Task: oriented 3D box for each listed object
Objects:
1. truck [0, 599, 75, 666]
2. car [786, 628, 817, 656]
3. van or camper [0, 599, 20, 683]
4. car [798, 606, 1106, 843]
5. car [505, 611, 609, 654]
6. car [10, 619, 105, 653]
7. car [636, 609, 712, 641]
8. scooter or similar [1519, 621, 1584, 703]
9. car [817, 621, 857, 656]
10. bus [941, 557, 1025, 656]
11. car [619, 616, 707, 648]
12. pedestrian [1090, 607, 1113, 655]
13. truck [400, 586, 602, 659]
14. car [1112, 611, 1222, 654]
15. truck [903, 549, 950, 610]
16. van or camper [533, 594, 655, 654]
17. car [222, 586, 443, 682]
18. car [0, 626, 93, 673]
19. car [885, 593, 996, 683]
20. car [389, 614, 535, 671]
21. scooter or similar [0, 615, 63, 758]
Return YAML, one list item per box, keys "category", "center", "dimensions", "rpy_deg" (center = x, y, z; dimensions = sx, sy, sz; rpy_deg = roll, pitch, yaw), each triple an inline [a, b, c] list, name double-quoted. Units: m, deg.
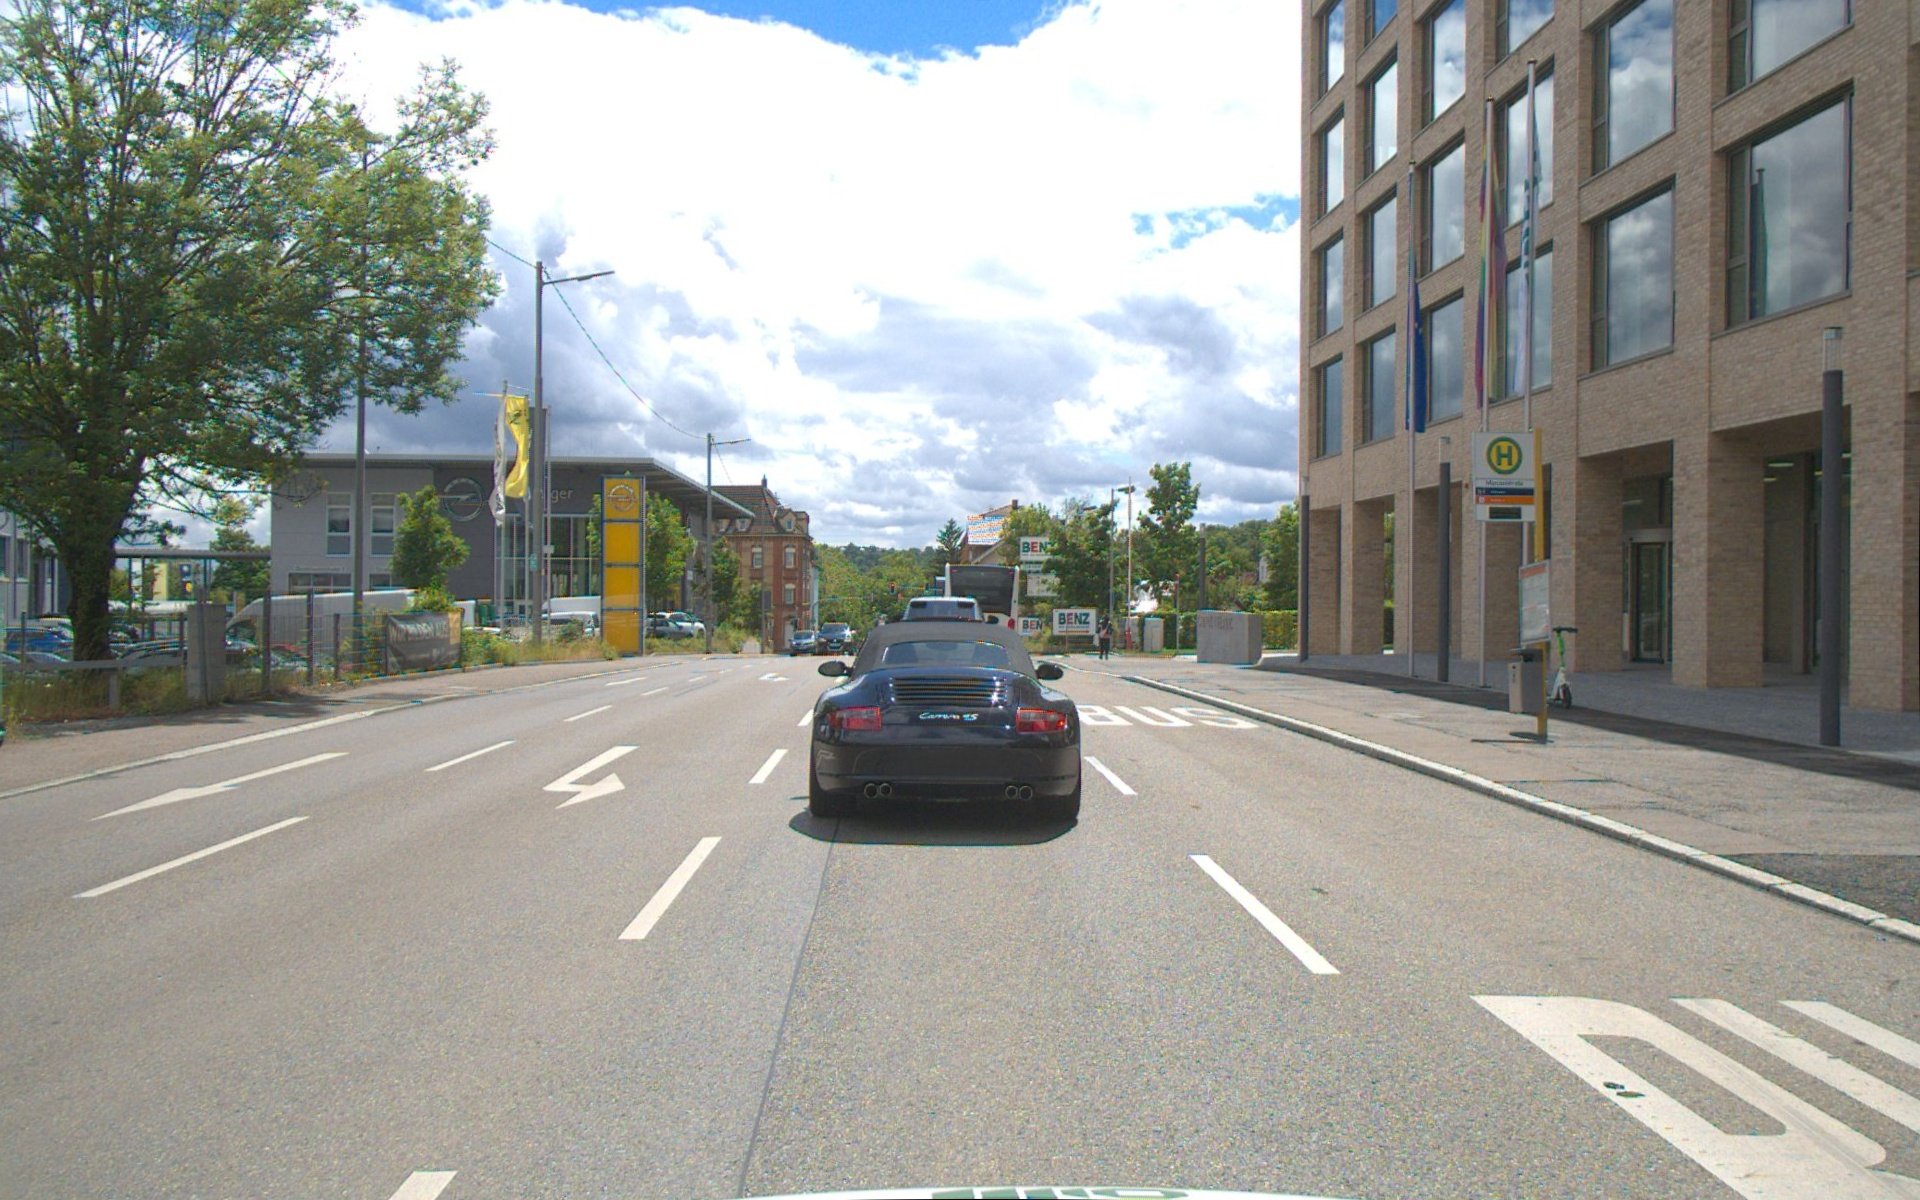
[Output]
- category: "truck"
  center: [-33.986, 1.146, 56.611]
  dimensions: [6.207, 2.268, 2.683]
  rpy_deg: [0, -2, -23]
- category: "car"
  center: [-9.930, 2.634, 103.687]
  dimensions: [1.709, 1.623, 4.039]
  rpy_deg: [-2, -1, -3]
- category: "van or camper"
  center: [-30.265, 1.167, 47.005]
  dimensions: [5.797, 2.396, 2.488]
  rpy_deg: [0, 0, -21]
- category: "car"
  center: [-0.077, 0.775, 12.281]
  dimensions: [1.891, 1.401, 4.207]
  rpy_deg: [0, 0, -1]
- category: "car"
  center: [-17.193, 1.372, 70.654]
  dimensions: [3.903, 1.735, 2.001]
  rpy_deg: [0, 0, 3]
- category: "car"
  center: [-39.505, 1.554, 72.475]
  dimensions: [3.416, 1.422, 1.653]
  rpy_deg: [0, 0, -20]
- category: "car"
  center: [-15.032, 1.361, 87.080]
  dimensions: [1.891, 1.600, 4.553]
  rpy_deg: [-1, -2, 21]
- category: "scooter or similar"
  center: [8.809, 0.908, 24.675]
  dimensions: [0.418, 1.173, 1.403]
  rpy_deg: [0, 0, -2]
- category: "car"
  center: [-5.622, 1.770, 76.057]
  dimensions: [1.793, 1.535, 4.273]
  rpy_deg: [0, -1, -4]
- category: "bus"
  center: [0.726, 0.151, 60.729]
  dimensions: [2.745, 3.254, 12.194]
  rpy_deg: [0, 0, 0]
- category: "car"
  center: [-14.668, 1.555, 81.947]
  dimensions: [1.857, 1.476, 4.828]
  rpy_deg: [0, 0, 25]
- category: "pedestrian"
  center: [4.692, 1.029, 54.835]
  dimensions: [0.673, 1.563, 0.856]
  rpy_deg: [0, -1, -2]
- category: "truck"
  center: [-14.421, 0.722, 52.264]
  dimensions: [5.747, 2.185, 2.474]
  rpy_deg: [-1, -2, -5]
- category: "car"
  center: [9.602, 1.524, 76.915]
  dimensions: [4.621, 1.881, 2.084]
  rpy_deg: [-1, -2, -10]
- category: "truck"
  center: [-2.031, -1.117, 97.443]
  dimensions: [2.613, 3.163, 9.030]
  rpy_deg: [-1, -2, -2]
- category: "van or camper"
  center: [-16.186, 1.030, 73.298]
  dimensions: [4.926, 2.575, 2.317]
  rpy_deg: [0, 0, -3]
- category: "car"
  center: [-13.802, 0.726, 36.585]
  dimensions: [4.078, 2.049, 2.197]
  rpy_deg: [0, 0, -4]
- category: "car"
  center: [-31.221, 1.652, 54.907]
  dimensions: [4.174, 1.523, 1.913]
  rpy_deg: [1, -2, -25]
- category: "car"
  center: [-0.448, 0.670, 31.733]
  dimensions: [1.892, 1.611, 4.204]
  rpy_deg: [0, 0, -4]
- category: "car"
  center: [-14.886, 1.280, 49.619]
  dimensions: [3.807, 1.638, 1.927]
  rpy_deg: [0, -2, -2]
- category: "scooter or similar"
  center: [-9.057, 0.800, 15.379]
  dimensions: [0.523, 1.288, 1.472]
  rpy_deg: [1, 0, 3]
